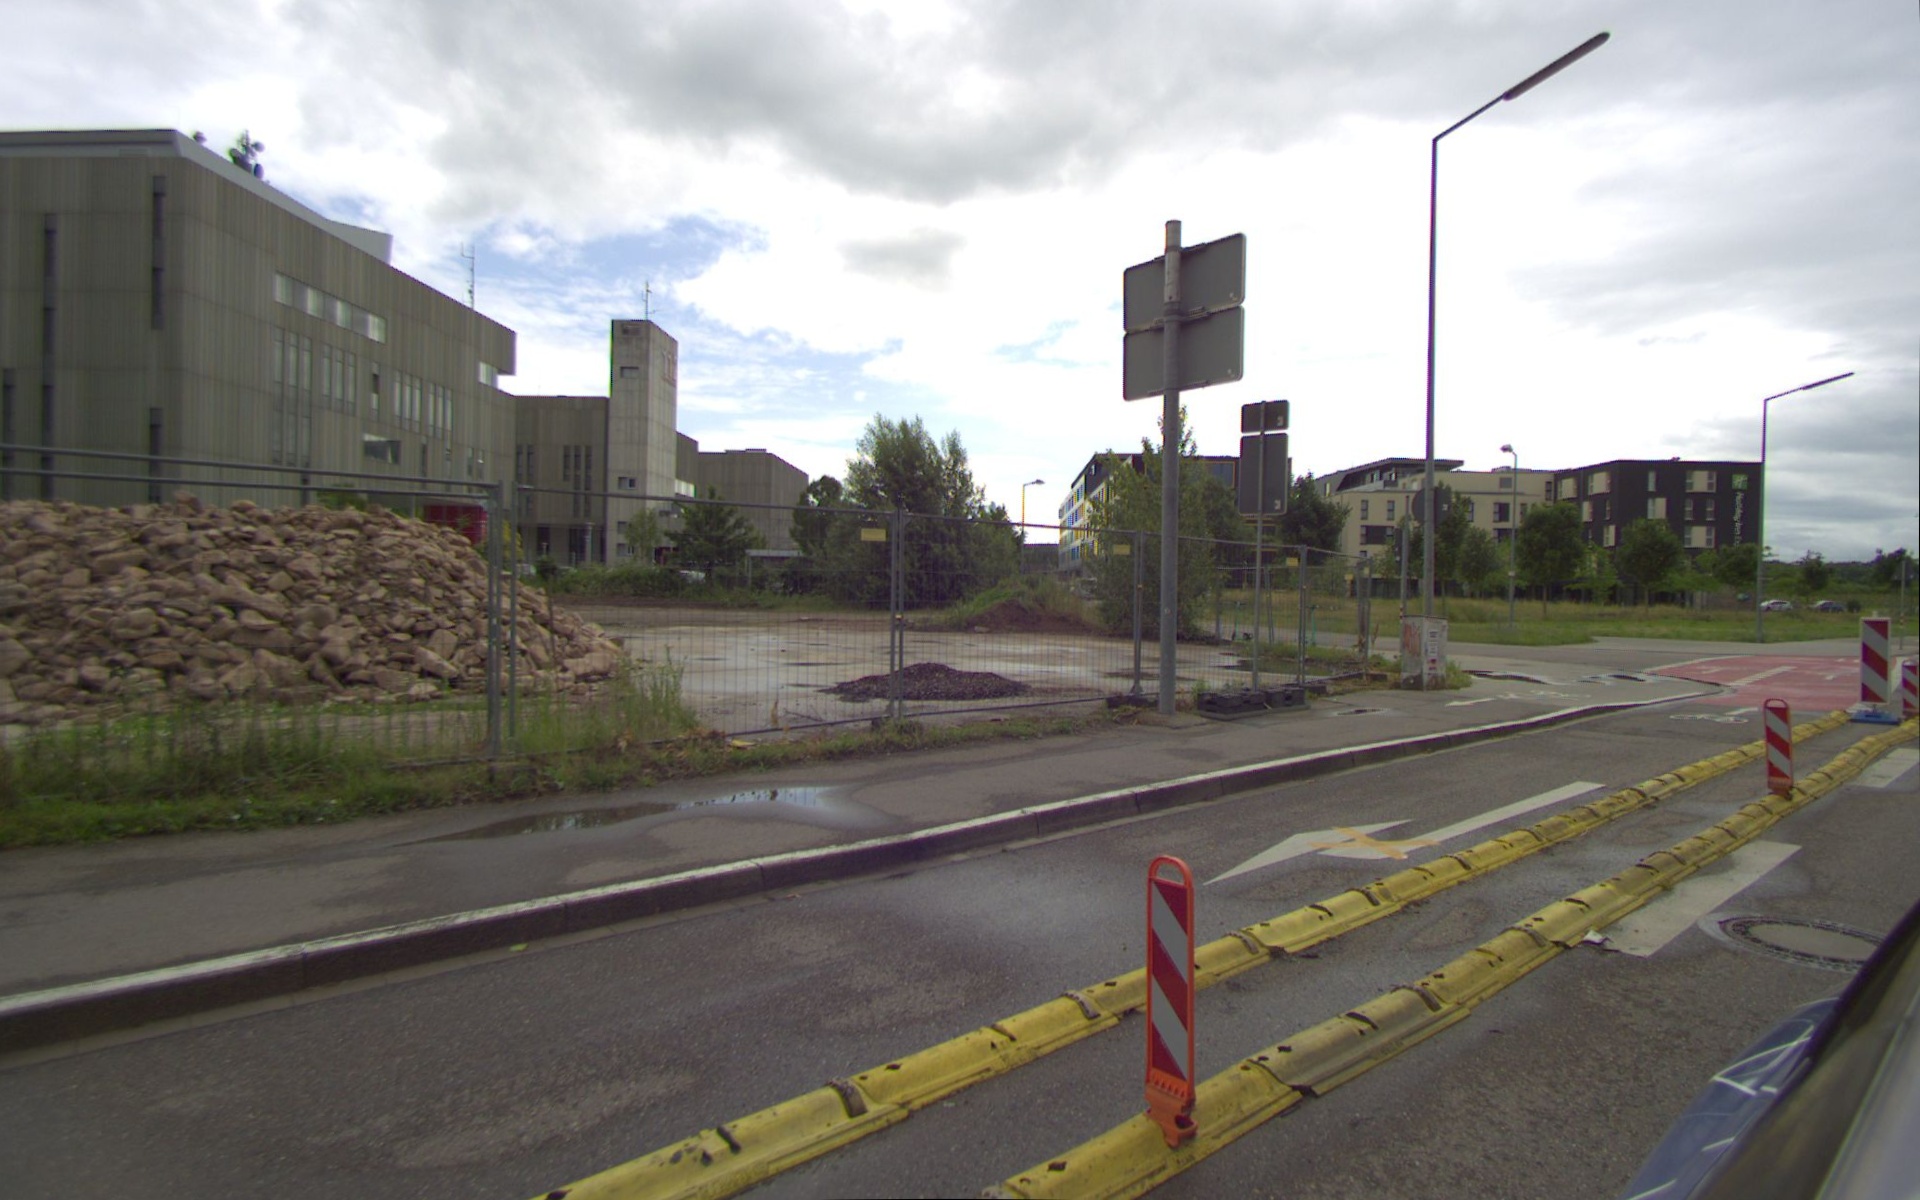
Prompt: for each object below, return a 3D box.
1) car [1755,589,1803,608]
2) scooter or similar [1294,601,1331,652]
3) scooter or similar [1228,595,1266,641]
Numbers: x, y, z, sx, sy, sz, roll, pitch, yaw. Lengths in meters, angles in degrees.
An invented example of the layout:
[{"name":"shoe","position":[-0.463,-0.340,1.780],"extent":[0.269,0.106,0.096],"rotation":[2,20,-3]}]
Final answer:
[{"name":"car","position":[97.106,-0.197,120.032],"extent":[3.925,2.039,2.000],"rotation":[1,1,2]},{"name":"scooter or similar","position":[8.726,0.640,25.062],"extent":[0.437,1.200,1.326],"rotation":[1,1,0]},{"name":"scooter or similar","position":[7.850,0.477,27.714],"extent":[0.436,1.200,1.176],"rotation":[1,1,-15]}]
